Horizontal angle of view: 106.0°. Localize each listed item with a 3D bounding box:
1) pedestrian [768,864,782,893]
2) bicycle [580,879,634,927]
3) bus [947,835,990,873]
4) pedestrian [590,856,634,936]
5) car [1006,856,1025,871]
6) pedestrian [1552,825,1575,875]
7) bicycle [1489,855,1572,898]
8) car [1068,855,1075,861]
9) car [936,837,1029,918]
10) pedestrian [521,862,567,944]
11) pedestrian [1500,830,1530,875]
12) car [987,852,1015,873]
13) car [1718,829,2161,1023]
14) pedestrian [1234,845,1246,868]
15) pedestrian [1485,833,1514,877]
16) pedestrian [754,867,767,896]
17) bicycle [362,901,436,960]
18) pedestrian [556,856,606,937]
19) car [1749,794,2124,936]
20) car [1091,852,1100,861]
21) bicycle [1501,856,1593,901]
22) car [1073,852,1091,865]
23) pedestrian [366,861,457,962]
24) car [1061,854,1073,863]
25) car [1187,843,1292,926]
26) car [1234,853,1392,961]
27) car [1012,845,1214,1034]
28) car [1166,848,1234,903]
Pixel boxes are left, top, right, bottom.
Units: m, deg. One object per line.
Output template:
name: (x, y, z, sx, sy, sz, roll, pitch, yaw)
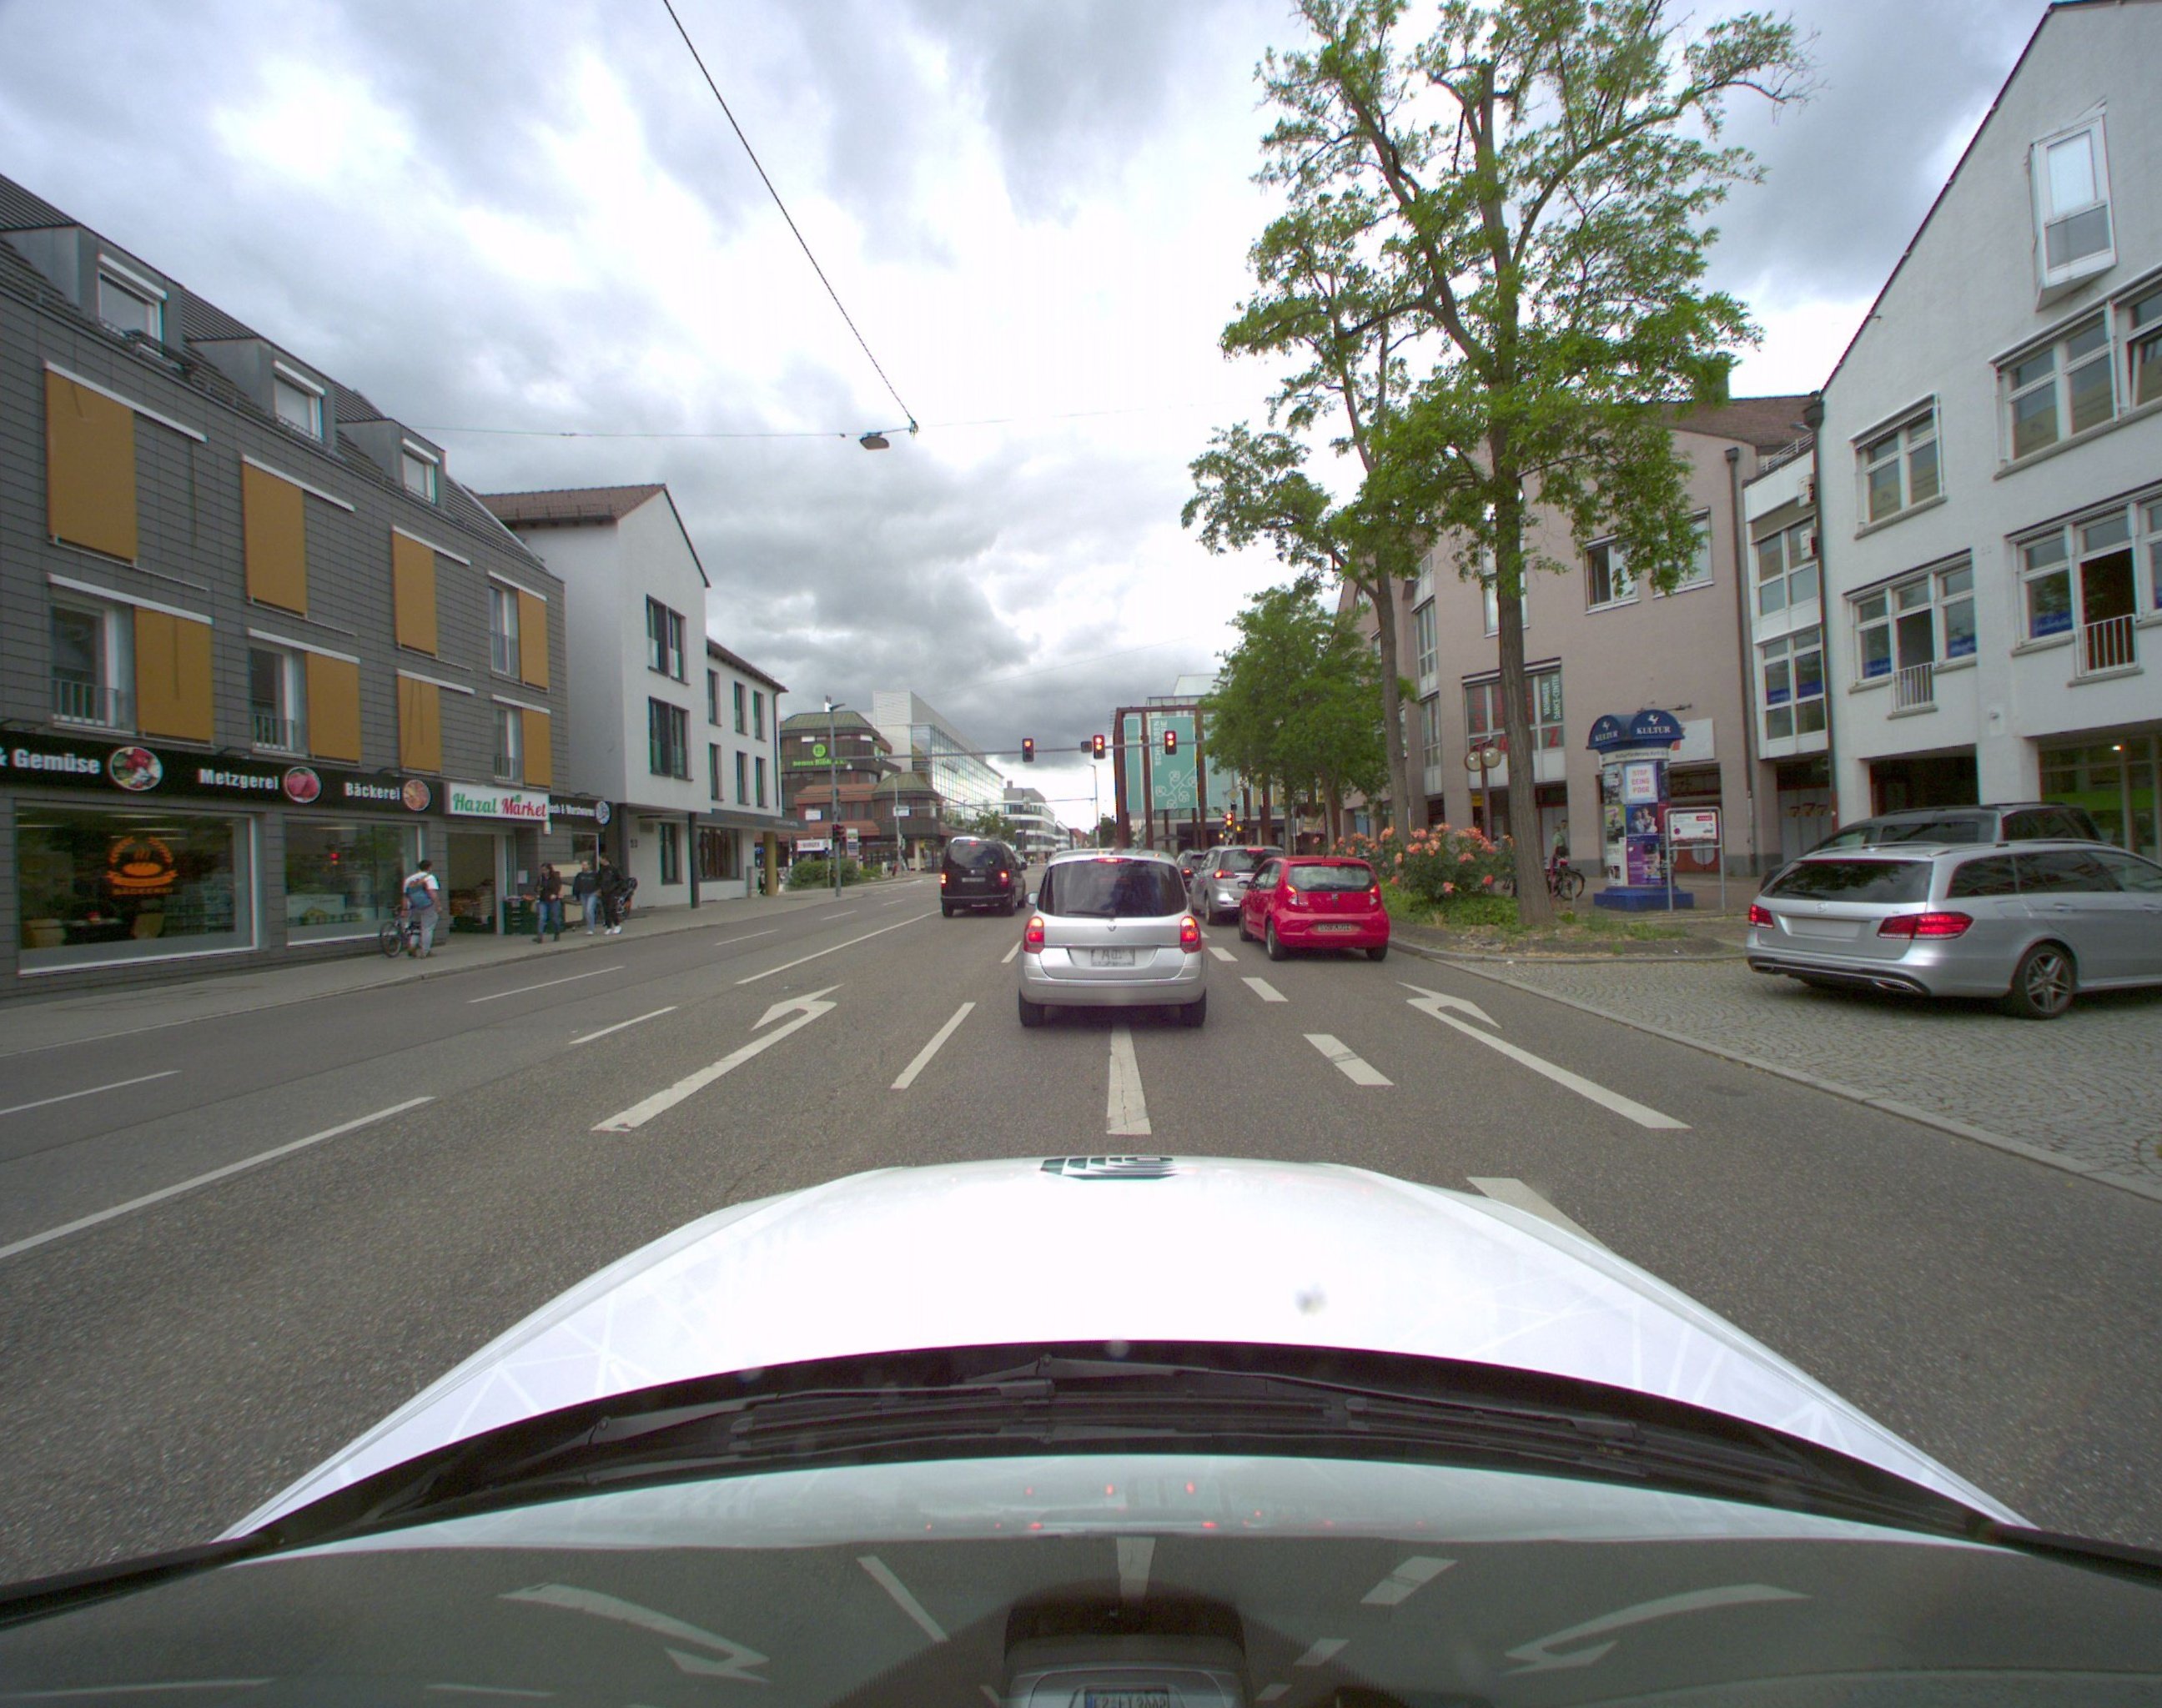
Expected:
pedestrian: (-17.577, 1.399, 46.824, 0.705, 1.658, 0.934, -2, 0, -20)
bicycle: (-12.793, 1.293, 22.018, 0.385, 1.186, 1.825, -2, 0, -1)
bus: (-10.327, -0.044, 75.635, 2.678, 3.261, 8.653, -2, 0, 1)
pedestrian: (-10.751, 0.953, 18.675, 0.567, 1.775, 0.647, -2, 0, 0)
car: (-6.449, 0.949, 80.253, 1.550, 1.392, 3.288, -2, 0, 0)
pedestrian: (16.490, -0.148, 27.829, 0.630, 1.677, 0.592, -2, 0, 30)
bicycle: (11.196, 0.560, 20.294, 1.760, 0.997, 0.447, -2, 0, 5)
car: (-2.564, 1.097, 224.324, 1.793, 1.540, 4.068, -2, 0, 3)
car: (-2.431, 0.540, 21.275, 1.738, 1.855, 4.635, -1, 0, 1)
pedestrian: (-11.157, 1.002, 16.920, 0.654, 1.650, 0.555, -2, 0, -22)
pedestrian: (15.300, -0.041, 28.711, 0.665, 1.563, 0.618, -2, 0, -20)
car: (-7.136, 0.740, 72.685, 1.987, 1.706, 4.065, -2, 0, 0)
car: (8.890, 0.558, 7.905, 4.355, 1.448, 1.815, -2, 1, -10)
pedestrian: (11.837, 0.176, 60.516, 0.652, 1.650, 0.557, -2, 0, -13)
pedestrian: (14.590, 0.032, 28.424, 0.611, 1.515, 0.618, -2, 0, -20)
pedestrian: (-18.957, 1.626, 48.194, 0.664, 1.649, 0.788, -2, 0, -20)
bicycle: (-12.660, 1.396, 15.157, 0.325, 0.954, 1.478, -2, 0, -9)
pedestrian: (-11.401, 0.948, 18.588, 0.680, 1.790, 0.648, -2, 0, -4)
car: (13.098, 0.136, 12.896, 1.633, 1.831, 3.963, -3, 0, -3)
car: (3.290, 0.472, 182.364, 1.987, 1.949, 4.951, -2, 0, 1)
bicycle: (11.279, 0.593, 19.737, 1.892, 0.997, 0.468, -2, 0, 5)
car: (0.143, 0.562, 104.619, 1.907, 1.677, 4.249, -2, 0, 6)
pedestrian: (-11.852, 0.984, 14.455, 0.751, 1.705, 0.981, 1, 0, 1)
car: (-2.431, 0.781, 142.726, 1.793, 1.540, 4.068, -2, 0, 3)
car: (3.378, 0.593, 18.036, 1.581, 1.634, 3.916, 0, 0, 0)
car: (3.431, 0.708, 12.619, 1.581, 1.443, 3.349, 0, 0, 2)
car: (0.309, 0.695, 8.360, 1.634, 1.527, 3.395, -1, 0, 1)
car: (3.605, 0.613, 25.241, 1.581, 1.595, 3.868, 0, 0, 0)
